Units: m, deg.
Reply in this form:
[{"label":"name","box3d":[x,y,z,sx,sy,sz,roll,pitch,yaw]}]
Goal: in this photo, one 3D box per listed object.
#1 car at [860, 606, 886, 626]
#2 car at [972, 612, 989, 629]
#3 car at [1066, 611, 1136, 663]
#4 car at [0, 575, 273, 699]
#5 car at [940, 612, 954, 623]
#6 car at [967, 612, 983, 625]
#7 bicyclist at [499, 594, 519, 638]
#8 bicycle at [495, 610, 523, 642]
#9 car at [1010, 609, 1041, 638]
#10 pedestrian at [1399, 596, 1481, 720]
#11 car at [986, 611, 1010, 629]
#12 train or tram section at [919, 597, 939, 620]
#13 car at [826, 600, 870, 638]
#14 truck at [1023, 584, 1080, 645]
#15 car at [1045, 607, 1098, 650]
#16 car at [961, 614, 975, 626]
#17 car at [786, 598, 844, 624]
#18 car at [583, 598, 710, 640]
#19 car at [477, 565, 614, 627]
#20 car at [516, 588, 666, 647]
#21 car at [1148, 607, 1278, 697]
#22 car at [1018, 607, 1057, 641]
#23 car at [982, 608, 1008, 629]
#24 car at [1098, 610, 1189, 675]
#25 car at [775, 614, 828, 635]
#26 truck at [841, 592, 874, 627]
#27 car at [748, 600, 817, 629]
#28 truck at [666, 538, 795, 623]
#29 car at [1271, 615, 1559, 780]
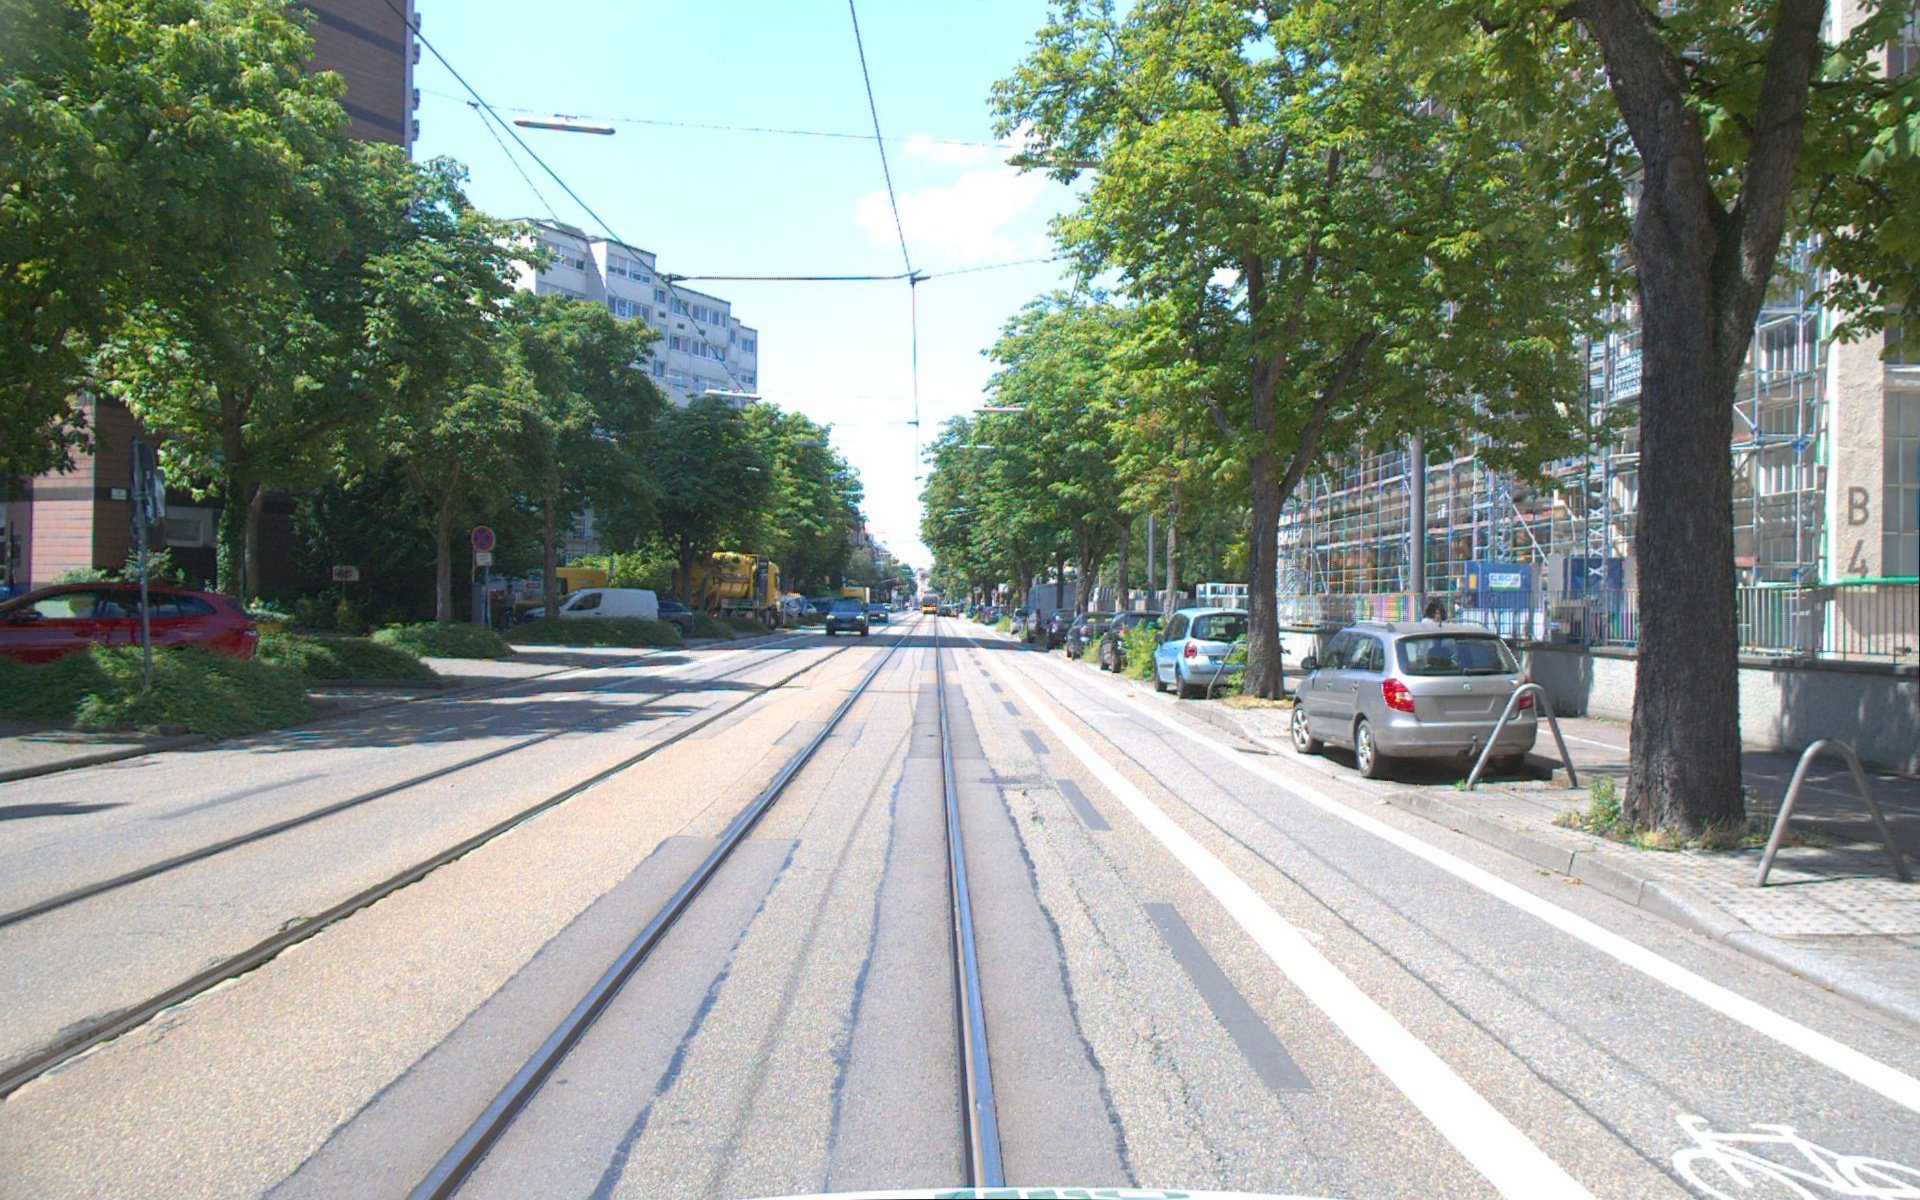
[{"label":"car","box3d":[-6.375,1.134,121.328,1.738,1.422,4.286,0,0,-1]},{"label":"car","box3d":[2.025,2.046,166.462,1.560,1.645,3.906,0,-1,-1]},{"label":"car","box3d":[4.264,1.093,50.493,1.787,1.497,4.486,1,0,0]},{"label":"car","box3d":[-12.079,0.488,22.665,4.713,1.594,1.982,1,0,-30]},{"label":"car","box3d":[-1.699,2.203,211.716,1.745,1.369,3.415,0,0,-1]},{"label":"car","box3d":[1.703,2.055,185.691,1.676,1.448,4.308,0,-1,-1]},{"label":"bicyclist","box3d":[-15.658,0.555,57.444,0.471,1.507,0.780,2,0,-3]},{"label":"bicycle","box3d":[-15.673,0.879,57.472,0.507,1.065,1.875,2,0,-3]},{"label":"car","box3d":[3.607,1.285,91.503,1.610,1.561,3.785,1,0,1]},{"label":"pedestrian","box3d":[6.440,0.759,22.216,0.783,1.616,0.919,-1,0,-2]},{"label":"car","box3d":[3.132,1.663,138.105,1.838,1.480,4.527,0,-1,0]},{"label":"train or tram section","box3d":[-4.838,1.388,260.603,2.973,3.499,11.969,0,0,0]},{"label":"car","box3d":[-5.150,0.870,76.549,1.793,1.710,4.183,0,0,-1]},{"label":"truck","box3d":[3.922,0.610,71.983,1.973,2.532,5.954,1,0,-2]},{"label":"car","box3d":[4.118,1.026,61.507,1.786,1.497,4.401,1,0,2]},{"label":"car","box3d":[0.999,2.482,203.679,1.676,1.448,4.308,0,-1,-1]},{"label":"car","box3d":[-12.313,0.944,140.555,4.718,2.098,1.997,-1,0,-40]},{"label":"car","box3d":[-11.783,0.722,62.273,4.405,1.419,1.747,2,0,-40]},{"label":"car","box3d":[-19.070,-0.146,76.516,2.137,2.611,6.712,1,-2,29]},{"label":"car","box3d":[-12.290,0.593,55.178,4.492,1.822,1.879,2,0,-34]},{"label":"car","box3d":[4.626,0.914,30.762,1.637,1.544,4.200,1,0,-2]},{"label":"car","box3d":[3.694,1.143,79.599,1.611,1.561,3.946,1,0,-1]},{"label":"car","box3d":[2.657,1.406,125.278,1.606,1.511,3.869,0,-1,-4]},{"label":"car","box3d":[4.383,1.001,40.063,1.637,1.463,4.040,1,0,-2]},{"label":"car","box3d":[-12.238,1.860,127.792,1.730,1.458,3.978,-3,-1,41]},{"label":"truck","box3d":[-8.702,0.793,141.132,2.312,2.902,7.378,0,0,1]},{"label":"car","box3d":[-12.258,1.006,114.420,1.887,1.969,4.729,-2,-1,41]},{"label":"truck","box3d":[-11.555,-0.851,84.765,2.657,3.909,10.971,2,-1,13]},{"label":"car","box3d":[4.726,0.945,17.838,1.638,1.525,4.362,1,0,-4]}]
